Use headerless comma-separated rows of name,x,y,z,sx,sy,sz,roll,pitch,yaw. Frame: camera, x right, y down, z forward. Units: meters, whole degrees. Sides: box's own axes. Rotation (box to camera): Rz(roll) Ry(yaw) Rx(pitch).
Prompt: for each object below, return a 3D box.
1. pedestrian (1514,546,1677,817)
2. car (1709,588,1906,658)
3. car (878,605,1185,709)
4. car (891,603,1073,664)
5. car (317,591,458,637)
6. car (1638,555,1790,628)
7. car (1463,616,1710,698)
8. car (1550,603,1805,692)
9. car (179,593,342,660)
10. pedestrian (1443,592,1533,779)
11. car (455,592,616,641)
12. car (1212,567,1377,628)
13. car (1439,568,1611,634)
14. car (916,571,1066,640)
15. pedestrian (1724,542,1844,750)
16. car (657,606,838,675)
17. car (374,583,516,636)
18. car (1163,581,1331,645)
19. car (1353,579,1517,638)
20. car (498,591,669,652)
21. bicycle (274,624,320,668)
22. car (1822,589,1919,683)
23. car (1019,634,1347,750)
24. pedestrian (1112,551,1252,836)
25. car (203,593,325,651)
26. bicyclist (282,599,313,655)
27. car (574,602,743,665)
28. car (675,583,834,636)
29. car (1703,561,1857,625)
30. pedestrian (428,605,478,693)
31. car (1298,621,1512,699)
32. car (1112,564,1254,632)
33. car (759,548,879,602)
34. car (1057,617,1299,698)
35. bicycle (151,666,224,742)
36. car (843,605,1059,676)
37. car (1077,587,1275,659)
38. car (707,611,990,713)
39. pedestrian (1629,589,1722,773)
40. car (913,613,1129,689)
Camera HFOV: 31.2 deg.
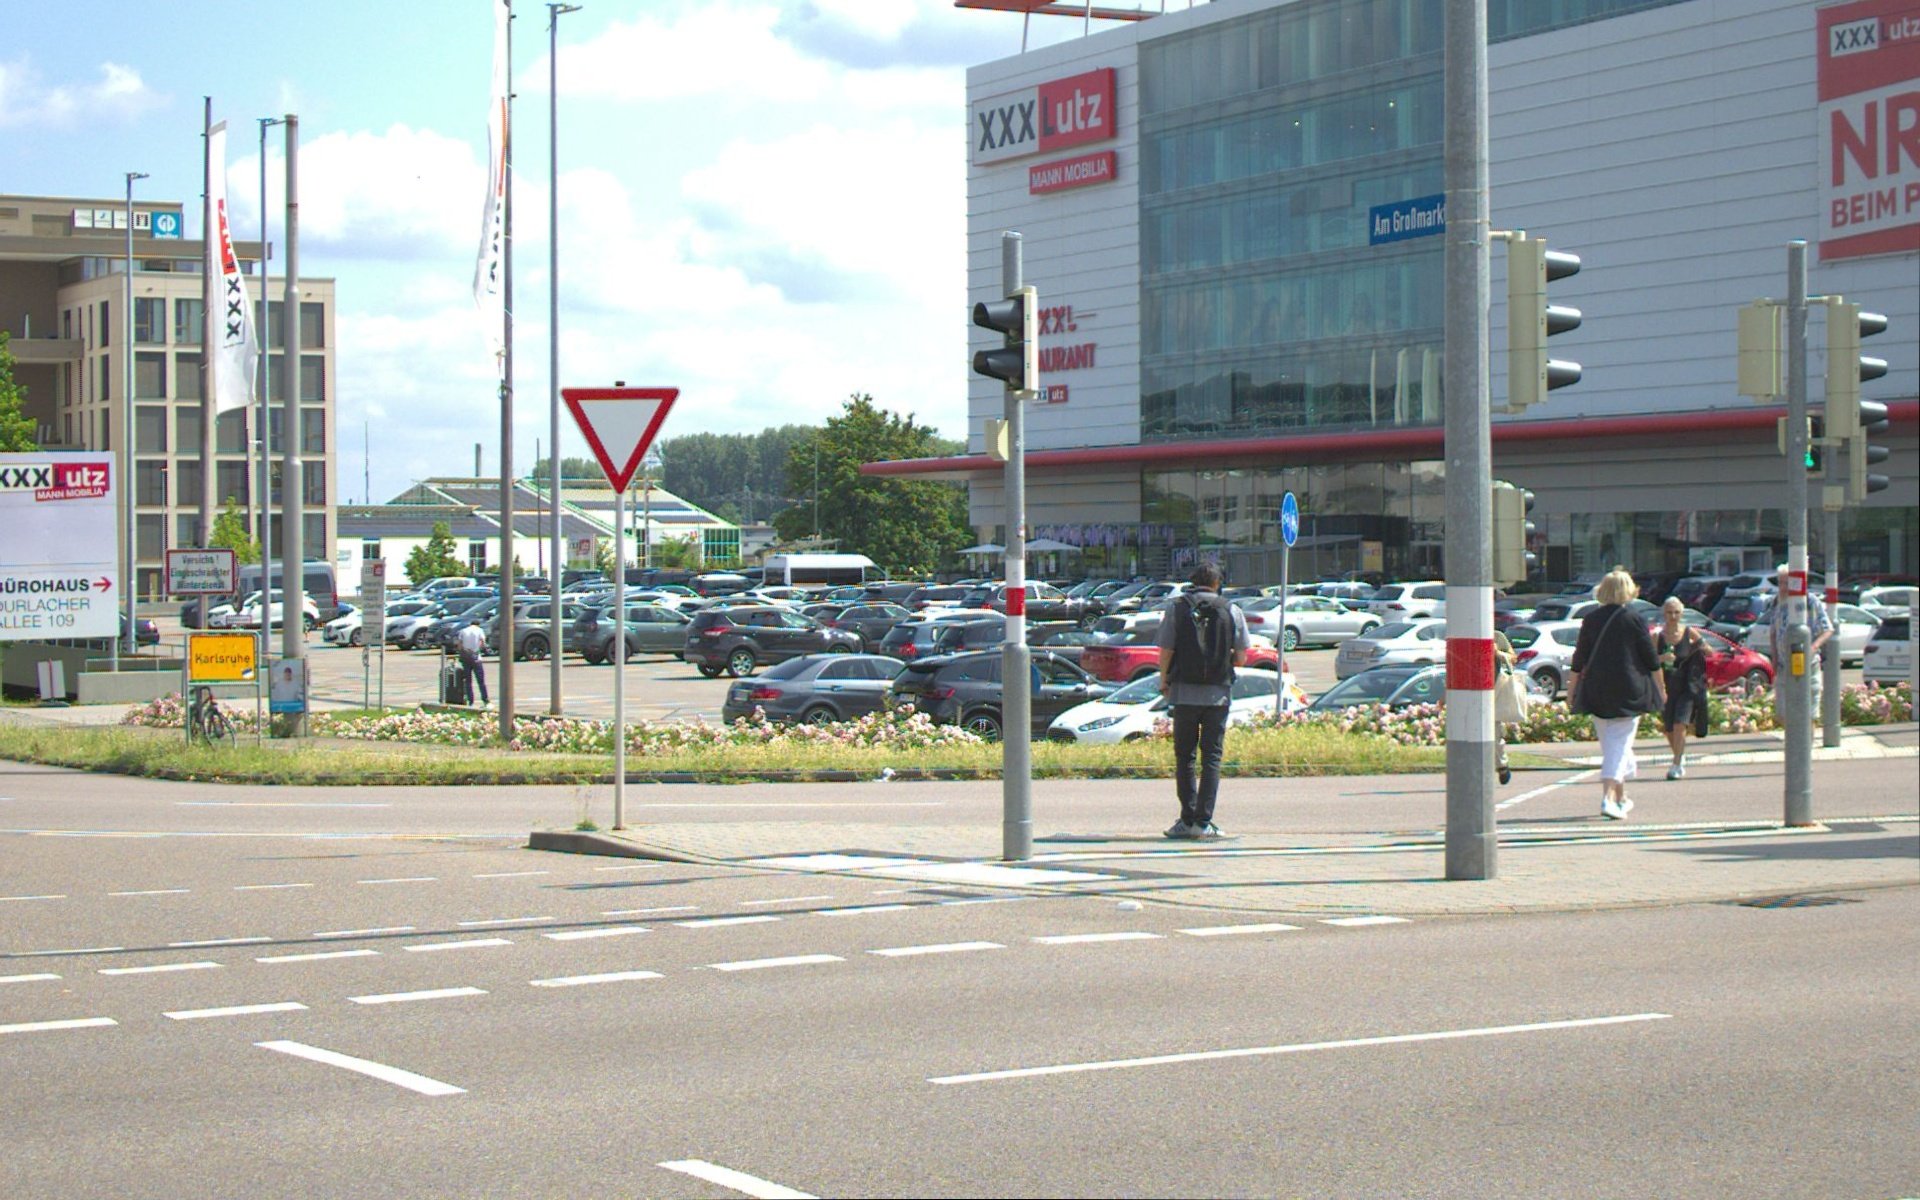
pedestrian,4.277,0.535,23.186,0.860,1.759,0.866,-2,0,-1
car,18.266,0.503,74.087,3.986,1.446,1.669,1,1,-27
car,1.119,0.851,53.088,4.358,1.411,1.857,-2,1,-27
car,0.554,0.830,87.441,4.289,1.422,1.760,0,2,-27
car,-18.921,0.458,113.644,4.183,1.384,1.893,-2,2,-31
car,22.142,-0.261,100.939,3.987,2.007,2.000,-2,1,-29
car,11.939,1.063,65.490,4.358,1.357,1.847,-2,2,-26
car,13.188,0.845,63.139,4.358,1.422,1.847,-2,2,-26
car,-26.604,1.002,130.831,5.658,2.358,2.062,-2,1,-29
pedestrian,4.332,0.697,28.203,0.554,1.519,0.469,1,0,-19
car,-12.545,0.474,101.666,4.358,1.320,1.765,-2,2,-29
car,8.894,-0.080,91.304,4.153,1.506,1.706,-2,1,-31
car,14.061,0.019,85.509,4.014,1.582,1.695,0,1,-29
car,0.927,0.176,102.747,3.986,2.007,2.000,1,1,-27
pedestrian,6.941,0.383,28.982,0.686,1.722,0.701,-1,-1,-17
car,-5.172,0.970,83.836,4.053,1.526,1.742,-2,1,-31
car,-16.398,0.285,109.451,3.987,1.565,2.000,-2,1,-30
car,7.825,0.334,93.623,4.224,1.582,1.853,-2,2,-29
car,13.297,0.217,96.163,4.339,1.506,1.706,-2,1,-28
car,-10.664,0.580,97.418,4.358,1.569,2.030,-2,2,-29
bicycle,-17.156,1.183,88.951,0.623,1.064,1.968,-1,1,-27
car,17.524,0.610,61.073,4.225,1.582,1.853,-1,1,-31
car,3.205,1.287,49.222,4.358,1.435,1.797,-2,1,-27
pedestrian,1.423,0.588,22.134,0.819,1.796,0.760,-1,0,-1
car,-25.738,0.798,127.204,3.986,2.007,2.000,-2,1,-27
bicyclist,-17.135,0.696,88.927,0.615,1.408,0.715,0,1,-27
car,-8.163,0.880,93.232,4.182,1.547,1.765,-2,2,-29
car,-5.964,0.276,99.807,4.239,1.459,1.760,0,1,-29
car,23.501,-0.223,98.531,3.987,1.717,2.000,-2,1,-29
pedestrian,-10.402,1.003,70.531,0.869,1.776,0.784,1,0,2
car,8.914,1.185,68.839,4.024,1.357,1.603,-2,2,-26
car,7.024,-0.077,108.267,3.986,2.007,2.000,-2,1,-28
car,-5.248,-0.947,127.849,3.986,1.945,2.000,1,1,-27
car,4.249,1.100,66.985,4.358,1.357,1.847,-2,2,-26
bicycle,-9.983,1.339,44.413,0.517,0.949,1.544,1,-1,-28
car,-0.200,0.863,75.478,4.358,1.357,1.847,-2,2,-26
car,4.944,0.515,78.692,4.149,1.503,1.826,-2,1,-27
car,-1.866,1.018,57.740,4.358,1.471,1.857,-2,2,-26
pedestrian,6.019,0.671,28.931,0.583,1.519,0.469,-1,1,-19
car,1.311,1.079,73.668,4.358,1.437,1.627,-2,2,-26
